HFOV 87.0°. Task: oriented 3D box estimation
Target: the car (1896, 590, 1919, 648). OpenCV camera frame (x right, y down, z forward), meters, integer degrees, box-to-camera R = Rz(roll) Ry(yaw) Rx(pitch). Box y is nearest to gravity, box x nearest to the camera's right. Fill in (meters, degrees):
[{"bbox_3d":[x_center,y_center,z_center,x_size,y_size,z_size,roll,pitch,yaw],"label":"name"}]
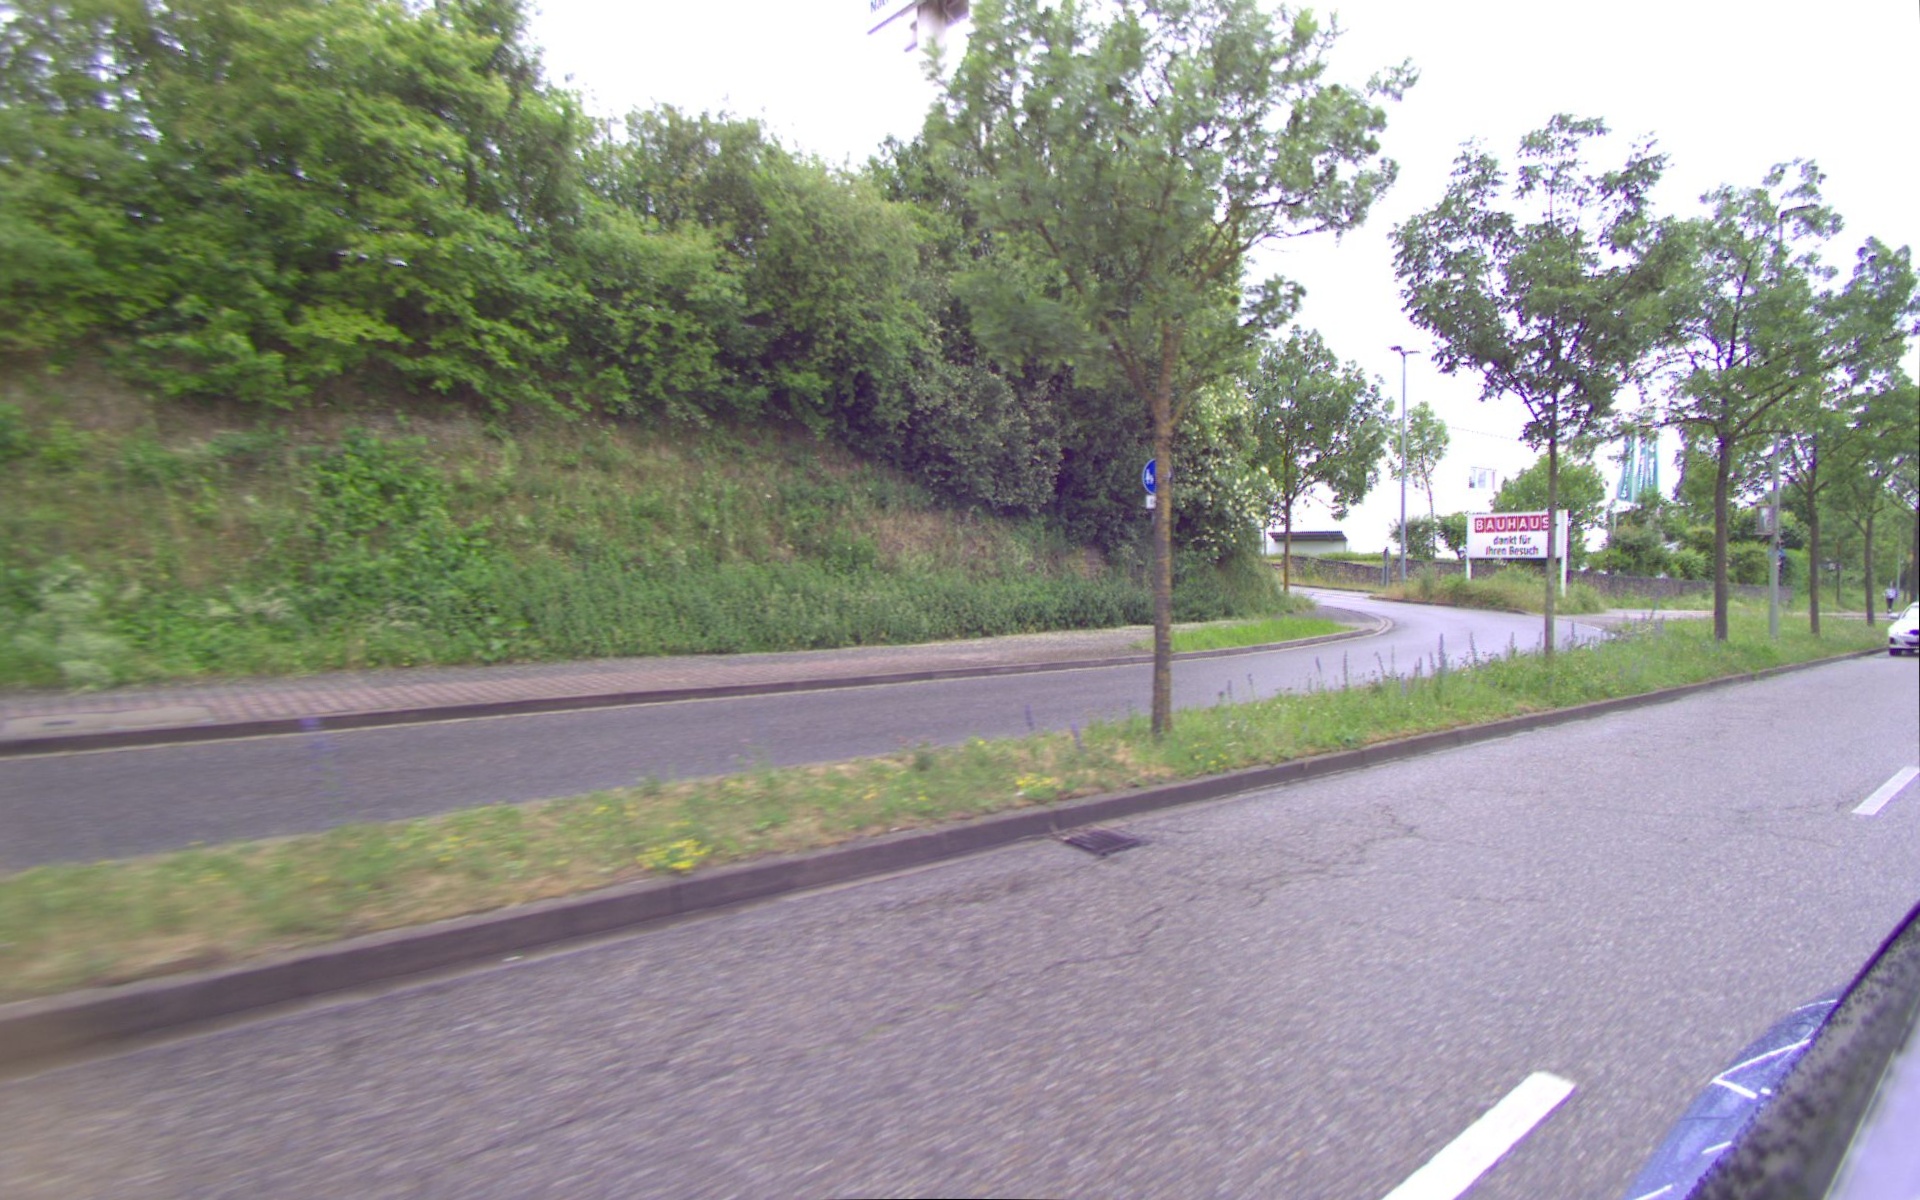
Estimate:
[{"bbox_3d":[26.804,0.492,27.222,3.928,1.500,1.863,0,1,-39],"label":"car"}]
